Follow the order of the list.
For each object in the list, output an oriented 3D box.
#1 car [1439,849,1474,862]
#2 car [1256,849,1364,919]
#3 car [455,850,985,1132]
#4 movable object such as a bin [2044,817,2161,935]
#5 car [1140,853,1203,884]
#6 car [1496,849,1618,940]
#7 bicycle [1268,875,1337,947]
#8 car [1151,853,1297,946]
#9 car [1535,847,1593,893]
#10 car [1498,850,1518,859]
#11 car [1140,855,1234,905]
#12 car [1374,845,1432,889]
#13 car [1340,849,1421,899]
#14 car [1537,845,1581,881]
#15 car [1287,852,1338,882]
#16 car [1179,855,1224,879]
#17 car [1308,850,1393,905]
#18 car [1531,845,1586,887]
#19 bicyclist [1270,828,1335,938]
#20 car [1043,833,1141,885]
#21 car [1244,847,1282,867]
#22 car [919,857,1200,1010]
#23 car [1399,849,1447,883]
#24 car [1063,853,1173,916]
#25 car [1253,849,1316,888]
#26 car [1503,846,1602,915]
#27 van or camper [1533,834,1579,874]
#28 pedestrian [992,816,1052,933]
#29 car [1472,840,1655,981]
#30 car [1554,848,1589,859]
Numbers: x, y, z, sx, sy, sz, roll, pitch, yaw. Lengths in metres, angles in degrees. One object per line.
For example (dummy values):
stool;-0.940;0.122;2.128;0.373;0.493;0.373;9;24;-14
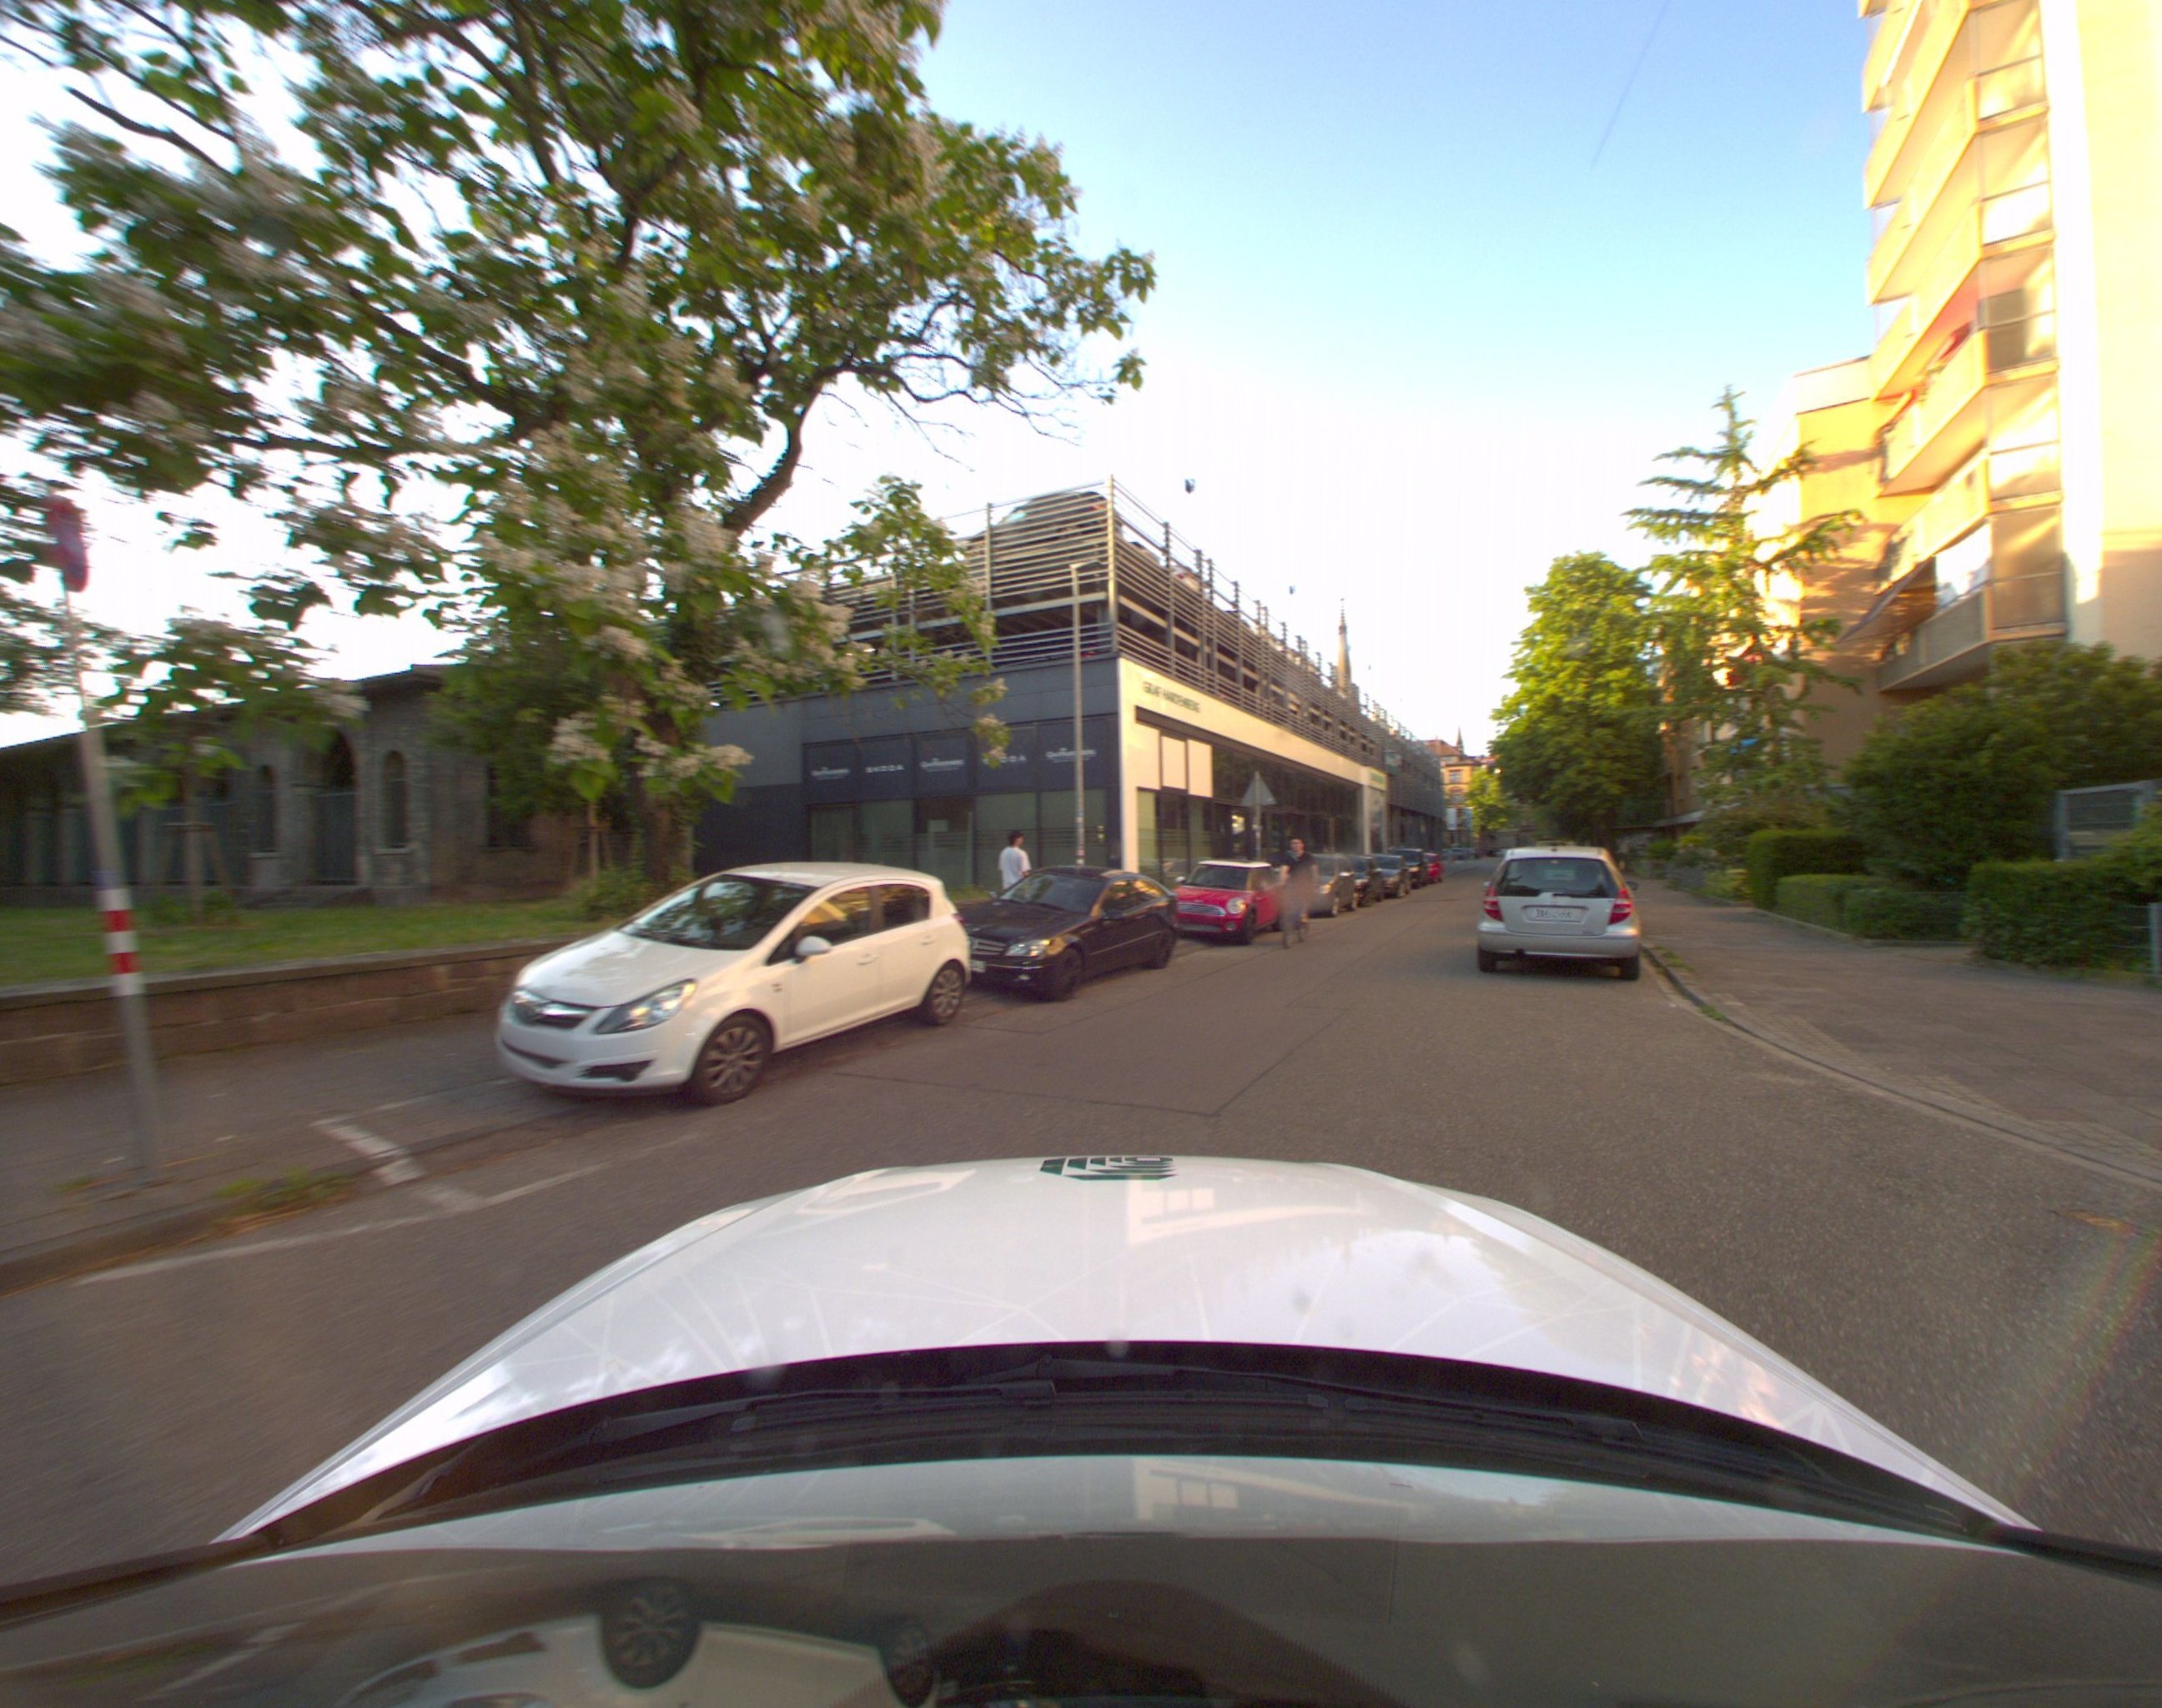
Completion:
car;49.779;0.159;107.961;4.091;1.617;1.925;1;1;28
car;6.007;0.695;21.032;1.646;1.497;3.909;4;3;31
car;-2.533;0.779;6.770;1.647;1.514;3.907;2;2;24
movable object such as a bin;13.259;0.248;10.330;0.868;1.415;1.308;-2;0;26
car;4.629;0.716;41.181;1.681;1.434;3.944;-2;0;30
car;8.838;0.662;15.229;1.700;1.419;4.053;-2;0;30
bicycle;3.836;0.949;14.005;0.752;1.097;1.875;-3;-1;26
car;2.898;0.763;15.828;1.646;1.410;3.951;4;3;27
car;17.007;0.537;28.760;1.594;1.461;4.079;-2;0;30
car;71.133;0.085;135.839;1.645;1.431;4.177;-1;1;8
car;3.717;0.834;27.855;1.681;1.514;4.218;-2;0;30
car;14.032;0.529;35.300;1.681;1.756;4.430;-2;0;30
car;10.925;0.678;29.533;1.918;1.596;4.232;-2;0;32
car;21.801;0.388;37.206;1.594;1.510;3.499;-2;0;30
car;12.284;0.666;43.006;1.681;1.473;3.805;-2;0;30
car;6.838;0.721;45.967;1.406;1.255;3.234;-2;0;30
car;8.377;0.665;25.134;1.712;1.402;4.031;4;3;29
car;19.398;0.460;33.136;1.774;1.562;4.220;-2;0;30
bicyclist;3.818;0.486;14.001;0.850;1.808;1.022;-2;0;26
car;0.451;0.141;27.989;1.681;1.658;3.761;-2;0;30
car;12.180;0.175;54.354;1.406;1.255;3.549;-2;0;30
car;-0.023;0.845;10.866;1.646;1.415;4.441;4;3;29
car;16.770;0.565;39.827;1.681;1.506;3.814;-2;0;30
car;1.175;0.832;23.862;1.577;1.650;3.900;-2;0;30
car;9.592;0.649;38.099;1.681;1.658;4.437;-2;0;30
car;11.116;0.563;19.246;1.792;1.416;3.920;-2;0;30
van or camper;26.941;-0.029;46.311;2.044;2.096;5.122;-2;0;29
pedestrian;-0.976;0.334;13.568;0.714;1.878;0.624;-2;0;31
car;6.551;0.628;11.211;1.792;1.575;3.909;-2;0;30
car;66.454;-0.095;110.345;3.968;1.466;1.871;-1;1;-17
